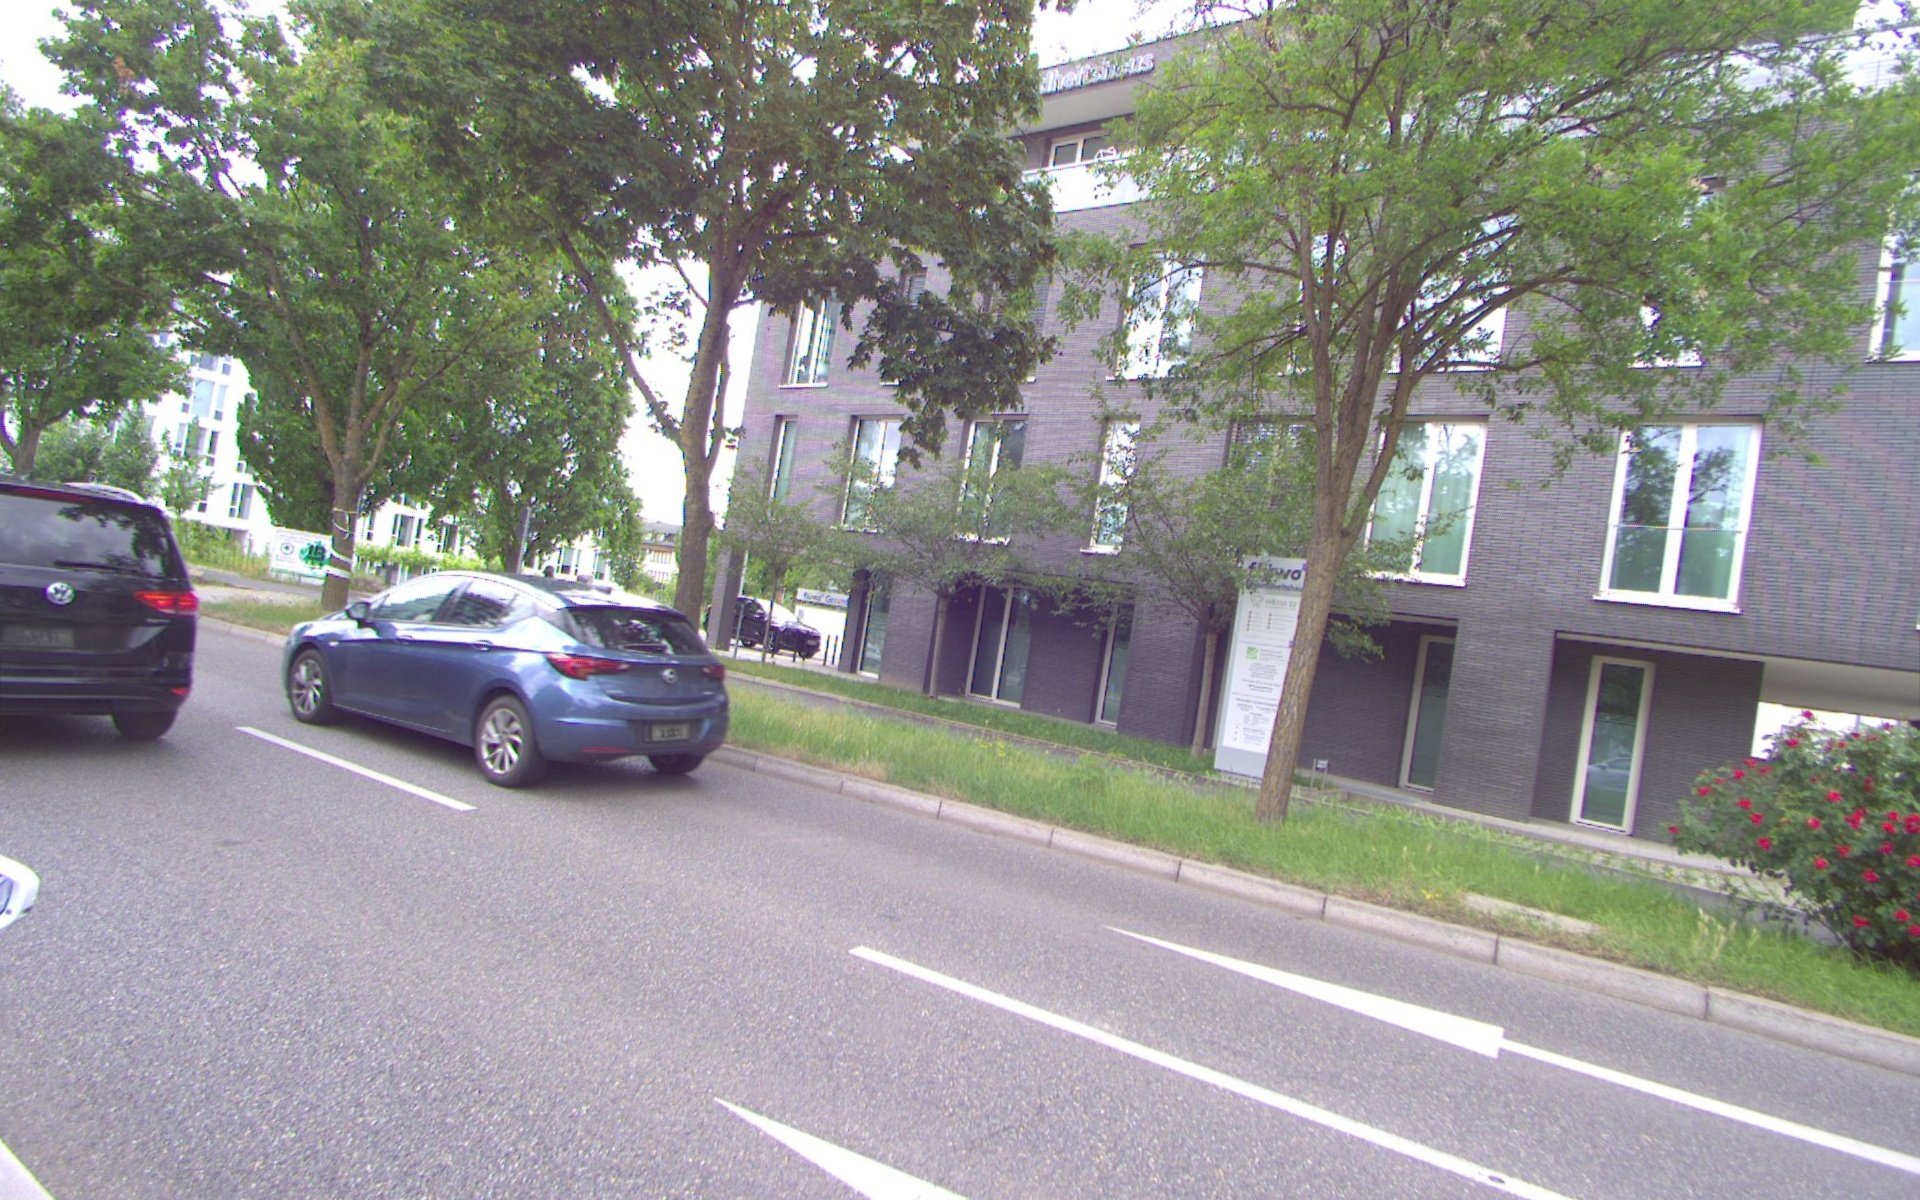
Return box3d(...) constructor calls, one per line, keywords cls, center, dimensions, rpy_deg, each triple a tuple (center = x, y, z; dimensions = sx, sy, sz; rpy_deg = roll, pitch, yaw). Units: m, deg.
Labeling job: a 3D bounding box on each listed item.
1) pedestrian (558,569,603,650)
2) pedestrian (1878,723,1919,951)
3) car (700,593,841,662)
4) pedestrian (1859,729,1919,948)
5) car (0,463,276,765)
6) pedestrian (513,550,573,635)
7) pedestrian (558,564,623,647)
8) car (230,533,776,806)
box3d(cls="pedestrian", center=(-7.818, 0.194, 20.721), dimensions=(0.553, 1.568, 0.410), rpy_deg=(6, -5, 37))
box3d(cls="pedestrian", center=(8.130, 1.956, 7.977), dimensions=(0.938, 1.796, 0.609), rpy_deg=(10, 0, 32))
box3d(cls="car", center=(-6.007, 0.847, 31.753), dimensions=(4.112, 1.569, 1.828), rpy_deg=(7, -2, 34))
box3d(cls="pedestrian", center=(8.478, 2.080, 8.540), dimensions=(0.938, 1.796, 0.609), rpy_deg=(10, 0, 32))
box3d(cls="car", center=(-6.915, -0.107, 6.883), dimensions=(4.240, 1.660, 1.970), rpy_deg=(7, -1, 31))
box3d(cls="pedestrian", center=(-8.353, -0.144, 20.173), dimensions=(0.578, 1.570, 0.726), rpy_deg=(7, -2, 37))
box3d(cls="pedestrian", center=(-7.821, 0.112, 21.297), dimensions=(0.732, 1.561, 0.593), rpy_deg=(7, -12, 37))
box3d(cls="car", center=(-3.861, 0.446, 8.355), dimensions=(4.240, 1.457, 1.970), rpy_deg=(7, 0, 31))
